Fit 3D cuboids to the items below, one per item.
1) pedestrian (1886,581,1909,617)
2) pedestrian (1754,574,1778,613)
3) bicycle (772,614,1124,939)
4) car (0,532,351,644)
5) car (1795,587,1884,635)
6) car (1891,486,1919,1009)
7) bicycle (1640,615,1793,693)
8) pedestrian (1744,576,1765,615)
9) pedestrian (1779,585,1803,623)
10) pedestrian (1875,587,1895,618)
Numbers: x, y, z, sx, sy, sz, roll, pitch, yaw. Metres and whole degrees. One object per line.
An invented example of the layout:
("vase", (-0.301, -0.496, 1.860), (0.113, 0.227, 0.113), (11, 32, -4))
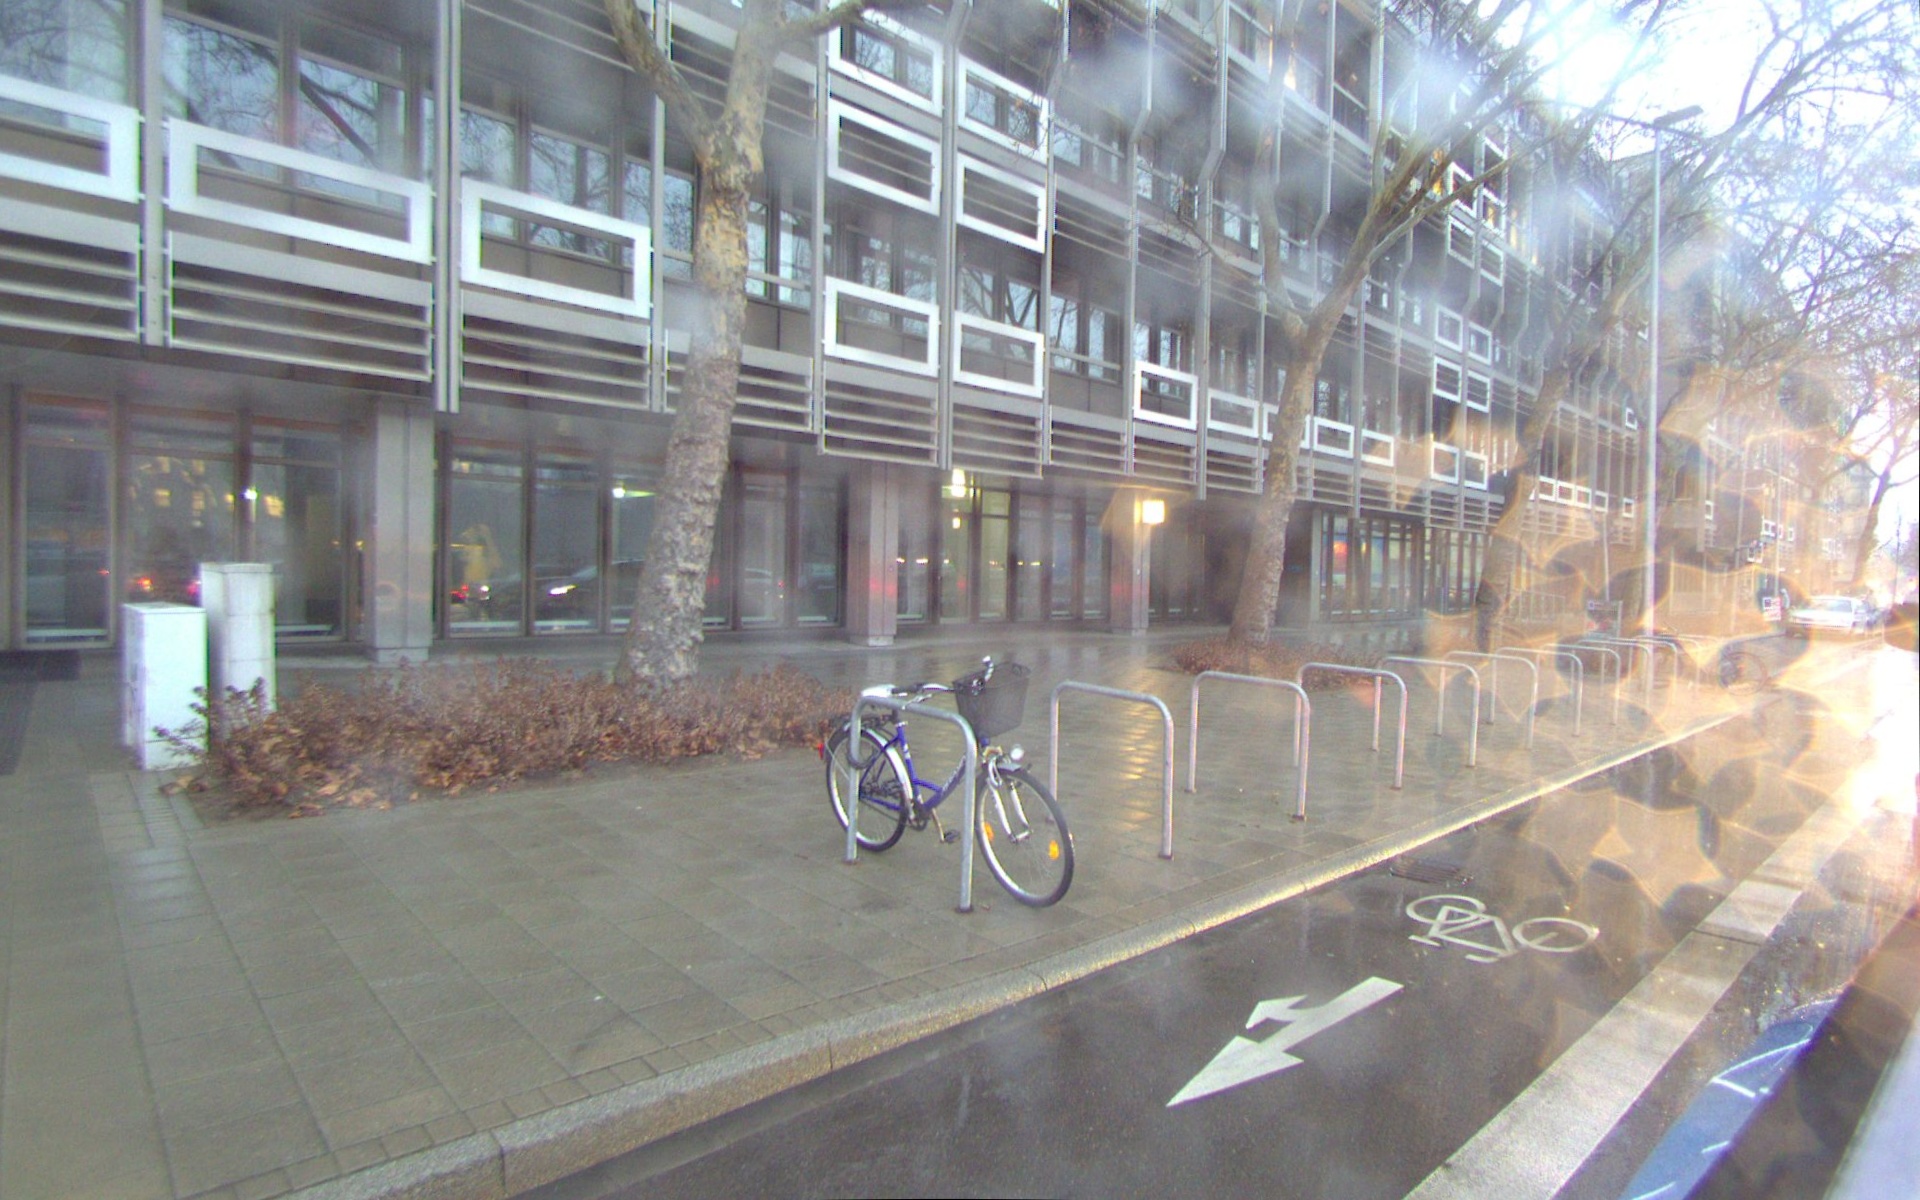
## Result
("pedestrian", (47.079, -0.039, 50.802), (0.765, 1.771, 0.913), (2, 2, 45))
("pedestrian", (46.622, -0.360, 58.546), (1.056, 2.222, 1.096), (0, 0, 38))
("bicycle", (-0.143, 0.711, 4.866), (0.629, 1.145, 1.810), (2, 2, -41))
("car", (-10.805, -0.201, 13.906), (3.929, 1.326, 1.998), (0, 3, -40))
("car", (29.415, 0.324, 33.798), (3.930, 1.482, 1.711), (-1, 1, -41))
("car", (5.446, 0.509, 4.265), (3.931, 1.864, 1.876), (-1, 0, -42))
("bicycle", (11.630, 0.796, 15.592), (0.864, 1.004, 1.704), (0, 4, -41))
("pedestrian", (42.363, -0.245, 53.960), (0.912, 2.004, 0.699), (0, 2, -41))
("pedestrian", (39.796, 0.202, 48.449), (0.765, 1.771, 0.913), (2, 2, 45))
("pedestrian", (53.362, 0.136, 58.375), (0.765, 1.771, 0.913), (2, 2, 45))
